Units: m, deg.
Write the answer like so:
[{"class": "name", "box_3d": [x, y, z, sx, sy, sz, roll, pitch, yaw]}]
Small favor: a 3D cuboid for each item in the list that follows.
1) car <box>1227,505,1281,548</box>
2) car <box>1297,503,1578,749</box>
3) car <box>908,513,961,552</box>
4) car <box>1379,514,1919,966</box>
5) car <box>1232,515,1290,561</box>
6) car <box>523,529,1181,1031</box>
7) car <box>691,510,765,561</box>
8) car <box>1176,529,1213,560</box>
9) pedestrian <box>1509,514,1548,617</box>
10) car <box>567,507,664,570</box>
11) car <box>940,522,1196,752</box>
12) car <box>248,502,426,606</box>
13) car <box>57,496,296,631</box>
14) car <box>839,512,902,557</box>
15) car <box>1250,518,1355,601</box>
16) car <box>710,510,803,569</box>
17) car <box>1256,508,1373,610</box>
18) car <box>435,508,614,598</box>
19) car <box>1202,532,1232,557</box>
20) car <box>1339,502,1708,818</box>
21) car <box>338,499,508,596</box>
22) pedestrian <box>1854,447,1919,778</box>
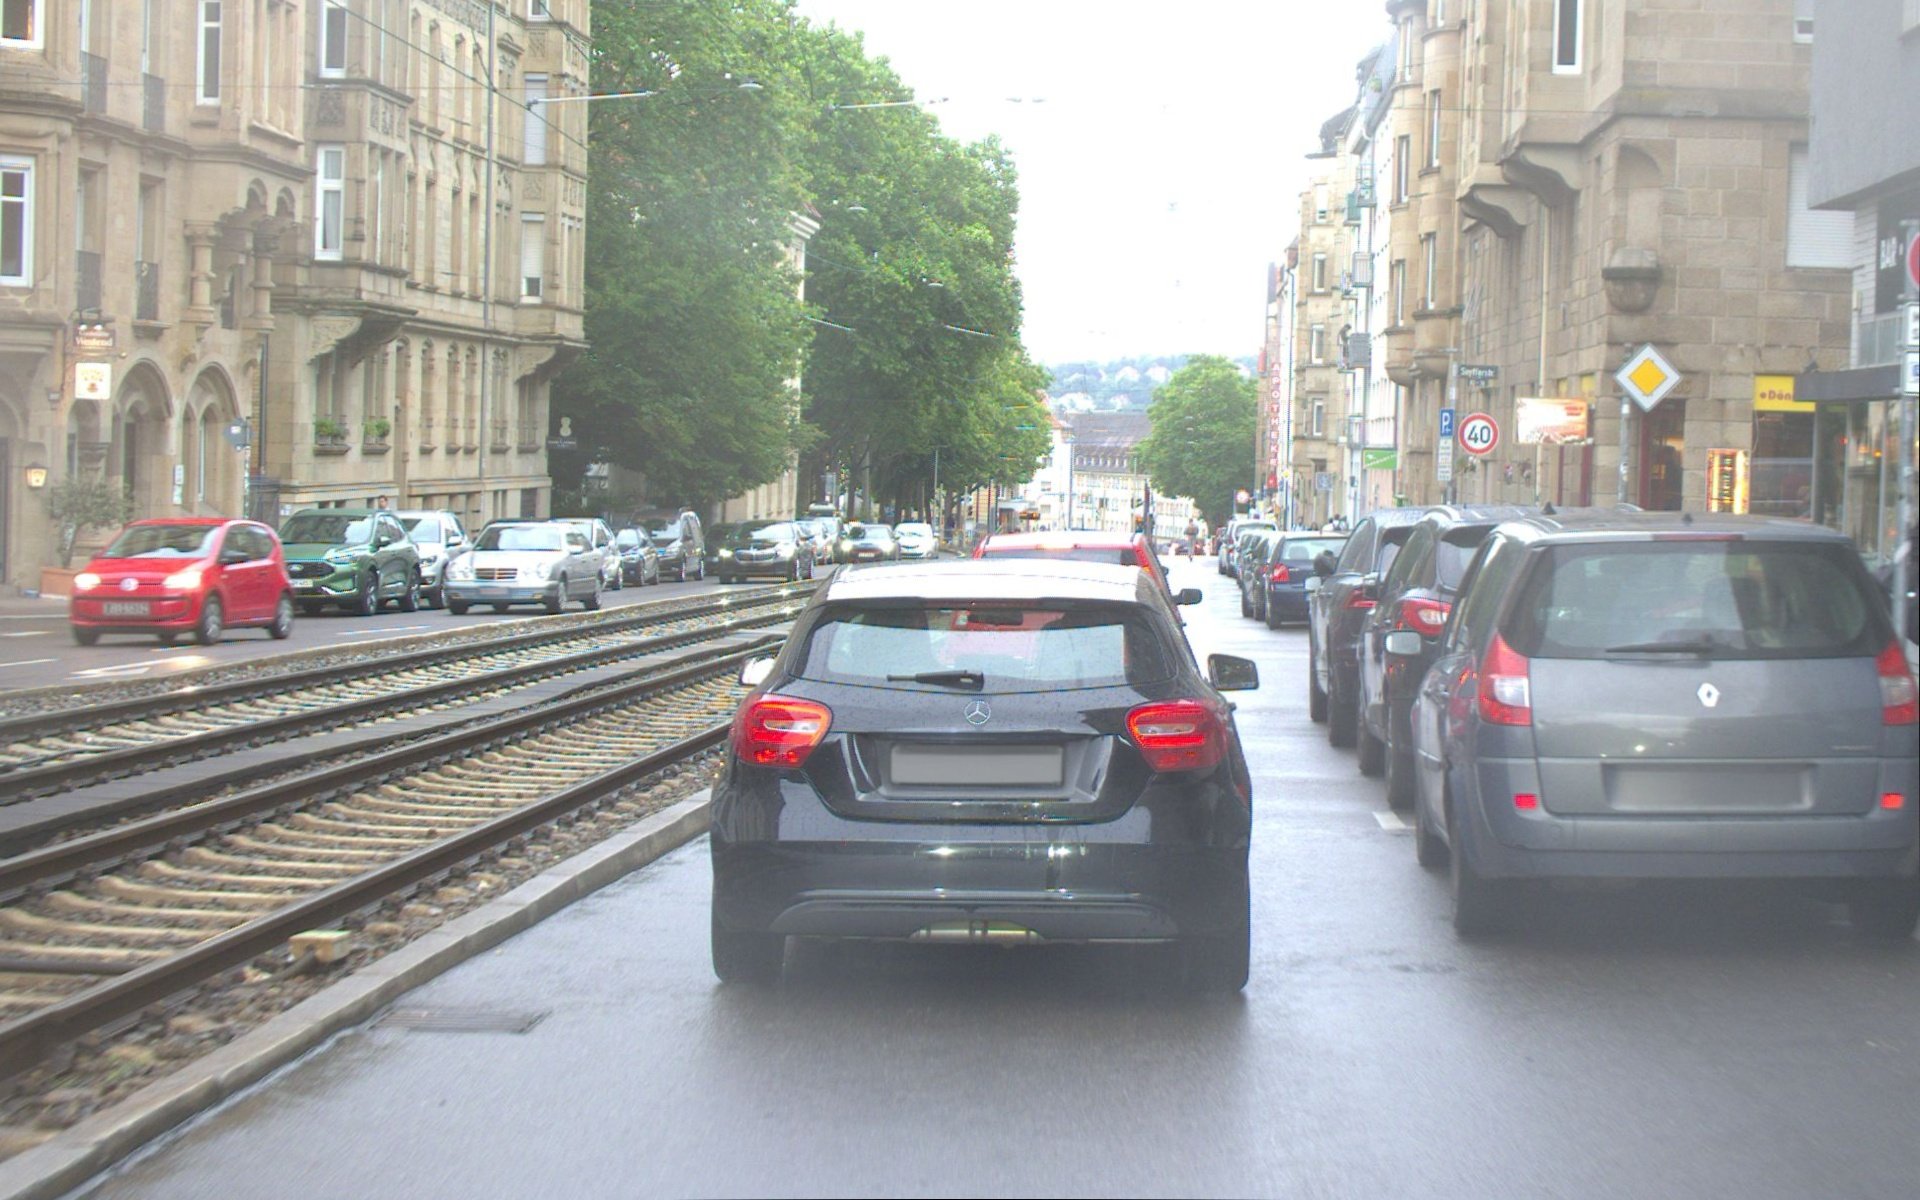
[{"class": "car", "box_3d": [9.275, -2.343, 108.726, 1.613, 1.313, 4.000, 0, 1, 4]}, {"class": "car", "box_3d": [3.487, 0.117, 25.799, 1.750, 1.664, 4.703, 0, 1, 4]}, {"class": "car", "box_3d": [-0.916, -2.475, 125.841, 1.569, 1.408, 3.480, 0, 1, 6]}, {"class": "car", "box_3d": [2.764, 0.427, 14.310, 1.765, 1.553, 4.745, 1, 1, 4]}, {"class": "car", "box_3d": [8.841, -1.841, 101.159, 1.613, 1.313, 4.000, 0, 1, 4]}, {"class": "car", "box_3d": [-0.215, 0.509, 12.585, 1.867, 1.447, 3.999, 2, 2, 6]}, {"class": "car", "box_3d": [-6.598, -1.843, 98.015, 1.569, 1.408, 3.480, 0, 1, 6]}, {"class": "car", "box_3d": [10.290, -2.461, 151.009, 1.613, 1.313, 4.000, 0, 1, 4]}, {"class": "pedestrian", "box_3d": [8.169, -0.498, 49.377, 0.454, 1.461, 0.610, 1, 1, 4]}, {"class": "car", "box_3d": [-7.914, -1.433, 79.266, 1.569, 1.408, 3.480, 0, 1, 6]}, {"class": "car", "box_3d": [0.834, 0.197, 24.712, 1.649, 1.447, 4.000, 2, 2, 3]}, {"class": "car", "box_3d": [-9.644, -0.740, 53.478, 1.722, 1.536, 3.933, 0, 1, 6]}, {"class": "car", "box_3d": [-9.072, -0.454, 40.064, 1.681, 1.491, 3.518, 0, 1, 6]}, {"class": "car", "box_3d": [-2.840, -2.095, 109.183, 1.569, 1.408, 3.480, 0, 1, 6]}, {"class": "car", "box_3d": [5.714, -0.705, 57.713, 1.613, 1.313, 4.000, 0, 1, 4]}, {"class": "car", "box_3d": [-4.871, -1.460, 82.597, 1.695, 1.383, 3.480, 0, 1, 6]}, {"class": "car", "box_3d": [5.364, -0.650, 52.374, 1.622, 1.479, 4.000, 0, 1, 4]}, {"class": "car", "box_3d": [-6.867, -0.769, 54.633, 1.807, 1.356, 4.762, 0, 1, 6]}, {"class": "car", "box_3d": [14.005, -3.042, 187.533, 1.613, 1.313, 4.000, 0, 1, 4]}, {"class": "car", "box_3d": [3.213, 0.264, 20.302, 1.683, 1.664, 4.122, 0, 1, 3]}, {"class": "car", "box_3d": [-9.156, -0.930, 58.973, 1.807, 1.591, 4.525, 0, 1, 6]}, {"class": "pedestrian", "box_3d": [5.510, 0.060, 18.840, 0.945, 1.763, 1.015, 1, 2, 2]}]
